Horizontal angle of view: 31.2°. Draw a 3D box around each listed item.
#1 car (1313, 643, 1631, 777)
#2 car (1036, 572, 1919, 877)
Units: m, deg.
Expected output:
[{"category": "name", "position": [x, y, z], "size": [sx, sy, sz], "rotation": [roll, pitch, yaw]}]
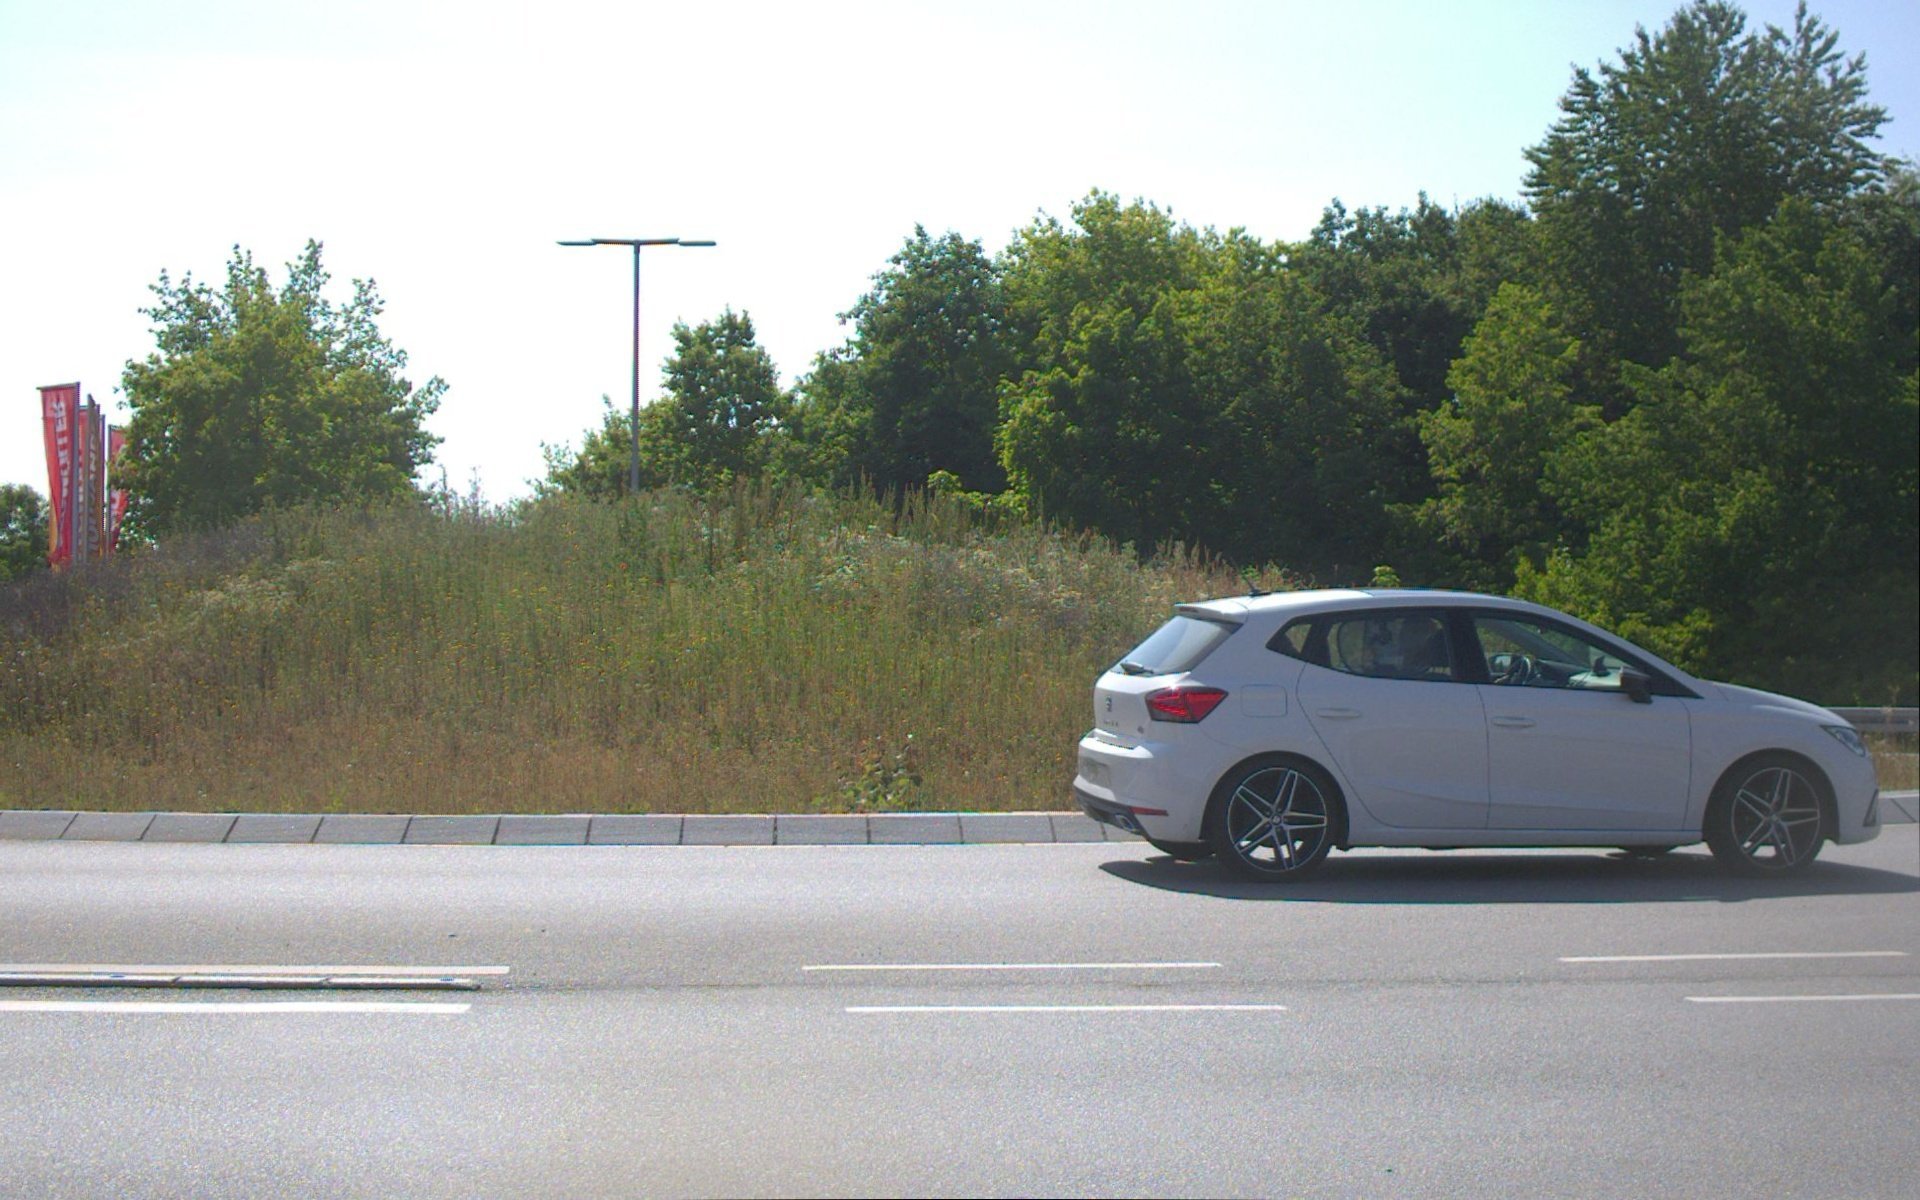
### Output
[{"category": "car", "position": [6.739, 1.424, 45.562], "size": [1.776, 1.590, 3.999], "rotation": [1, 0, -39]}, {"category": "car", "position": [2.721, 0.614, 17.557], "size": [4.401, 1.400, 1.792], "rotation": [1, 0, -8]}]
